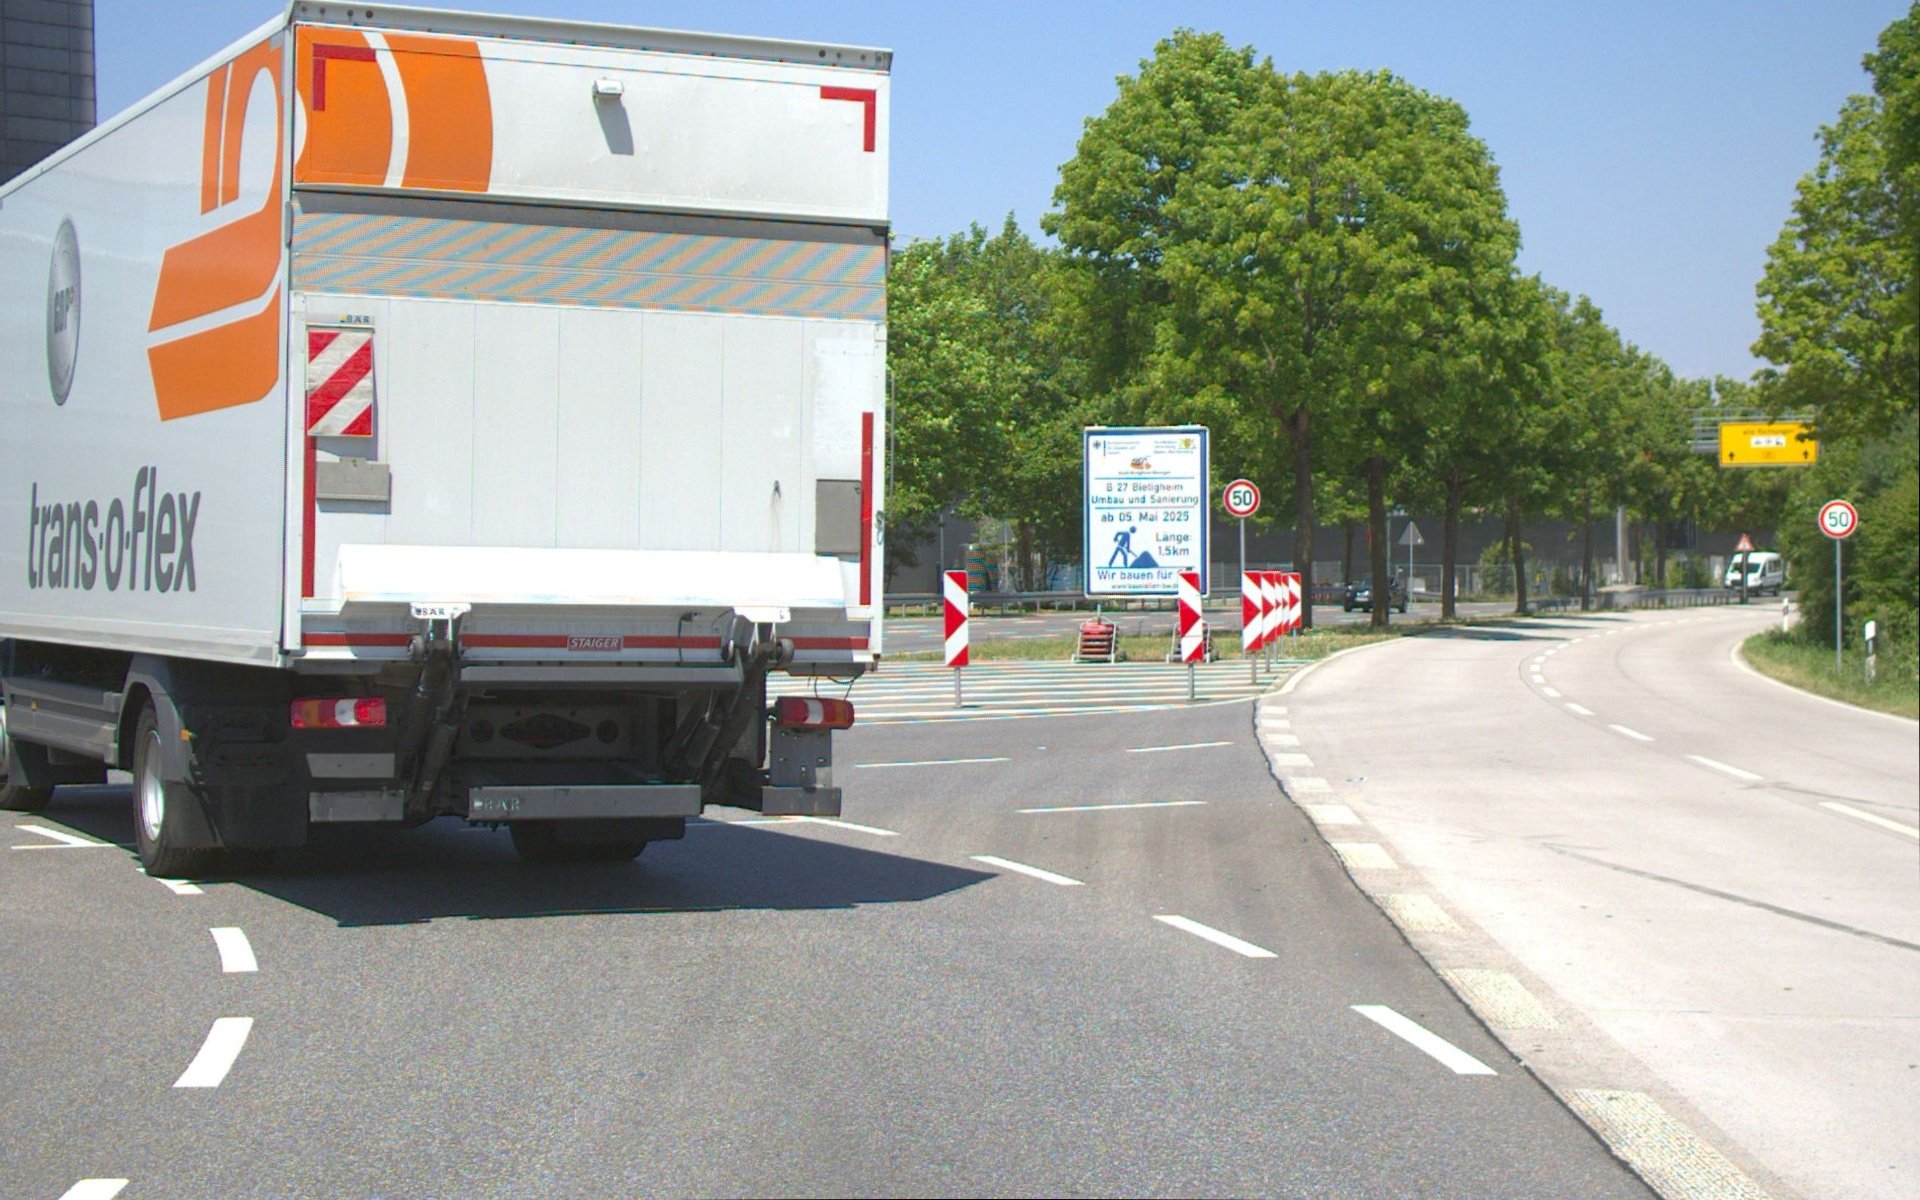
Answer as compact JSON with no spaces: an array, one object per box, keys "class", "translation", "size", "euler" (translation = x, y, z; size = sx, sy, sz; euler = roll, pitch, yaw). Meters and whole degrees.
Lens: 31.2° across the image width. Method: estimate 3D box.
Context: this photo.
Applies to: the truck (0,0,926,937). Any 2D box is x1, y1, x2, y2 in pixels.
[{"class":"truck","translation":[-3.285,-0.689,17.919],"size":[2.769,3.846,9.372],"euler":[0,1,-23]}]
